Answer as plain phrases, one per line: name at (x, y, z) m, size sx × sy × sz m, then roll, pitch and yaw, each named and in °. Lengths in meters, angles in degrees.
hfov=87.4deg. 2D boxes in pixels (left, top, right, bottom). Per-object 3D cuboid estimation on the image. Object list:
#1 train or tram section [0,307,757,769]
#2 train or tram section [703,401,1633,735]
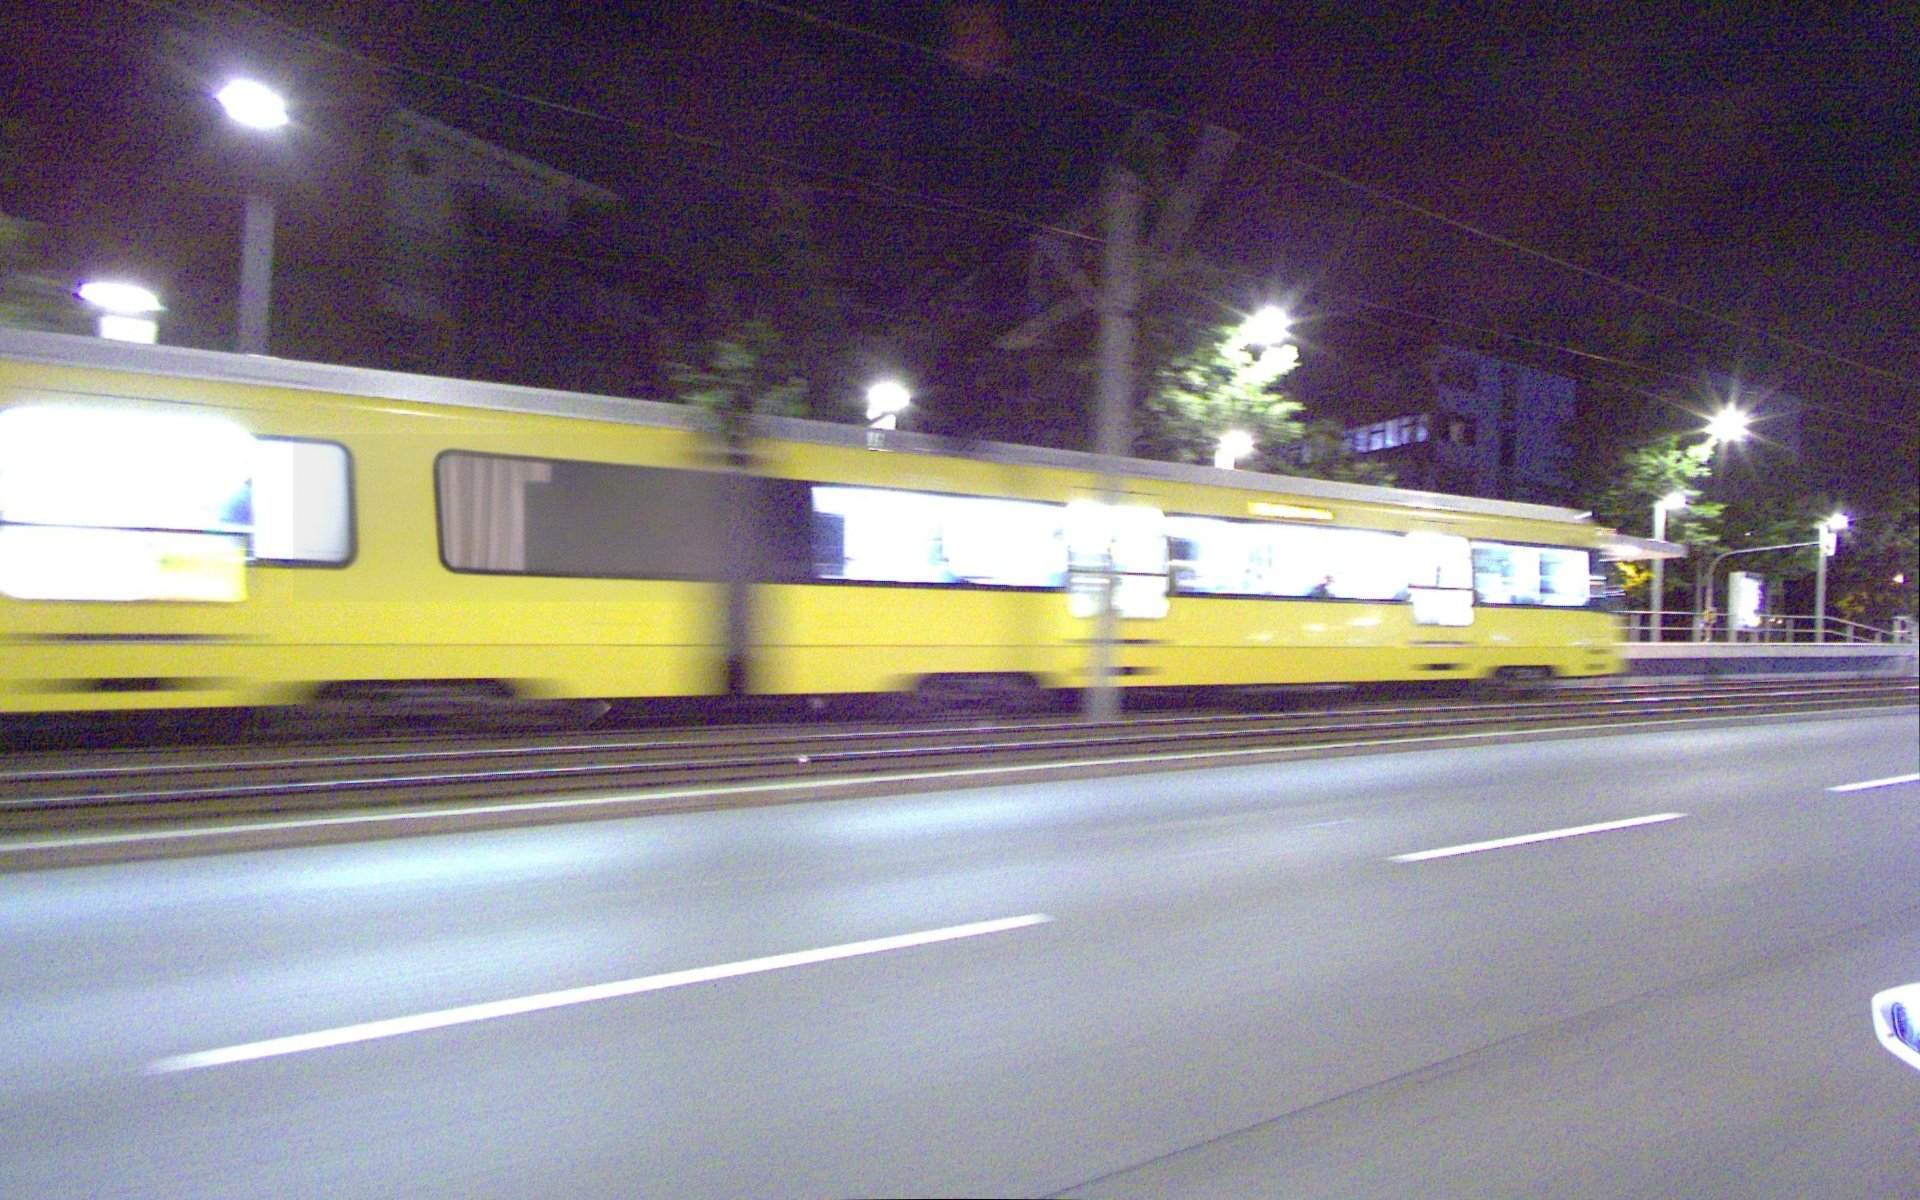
train or tram section at (-11.385, -0.586, 8.212) m, size 19.125 × 3.897 × 2.727 m, roll 1°, pitch -1°, yaw -29°
train or tram section at (5.124, -0.170, 17.362) m, size 18.442 × 3.878 × 2.747 m, roll 1°, pitch -1°, yaw -29°
